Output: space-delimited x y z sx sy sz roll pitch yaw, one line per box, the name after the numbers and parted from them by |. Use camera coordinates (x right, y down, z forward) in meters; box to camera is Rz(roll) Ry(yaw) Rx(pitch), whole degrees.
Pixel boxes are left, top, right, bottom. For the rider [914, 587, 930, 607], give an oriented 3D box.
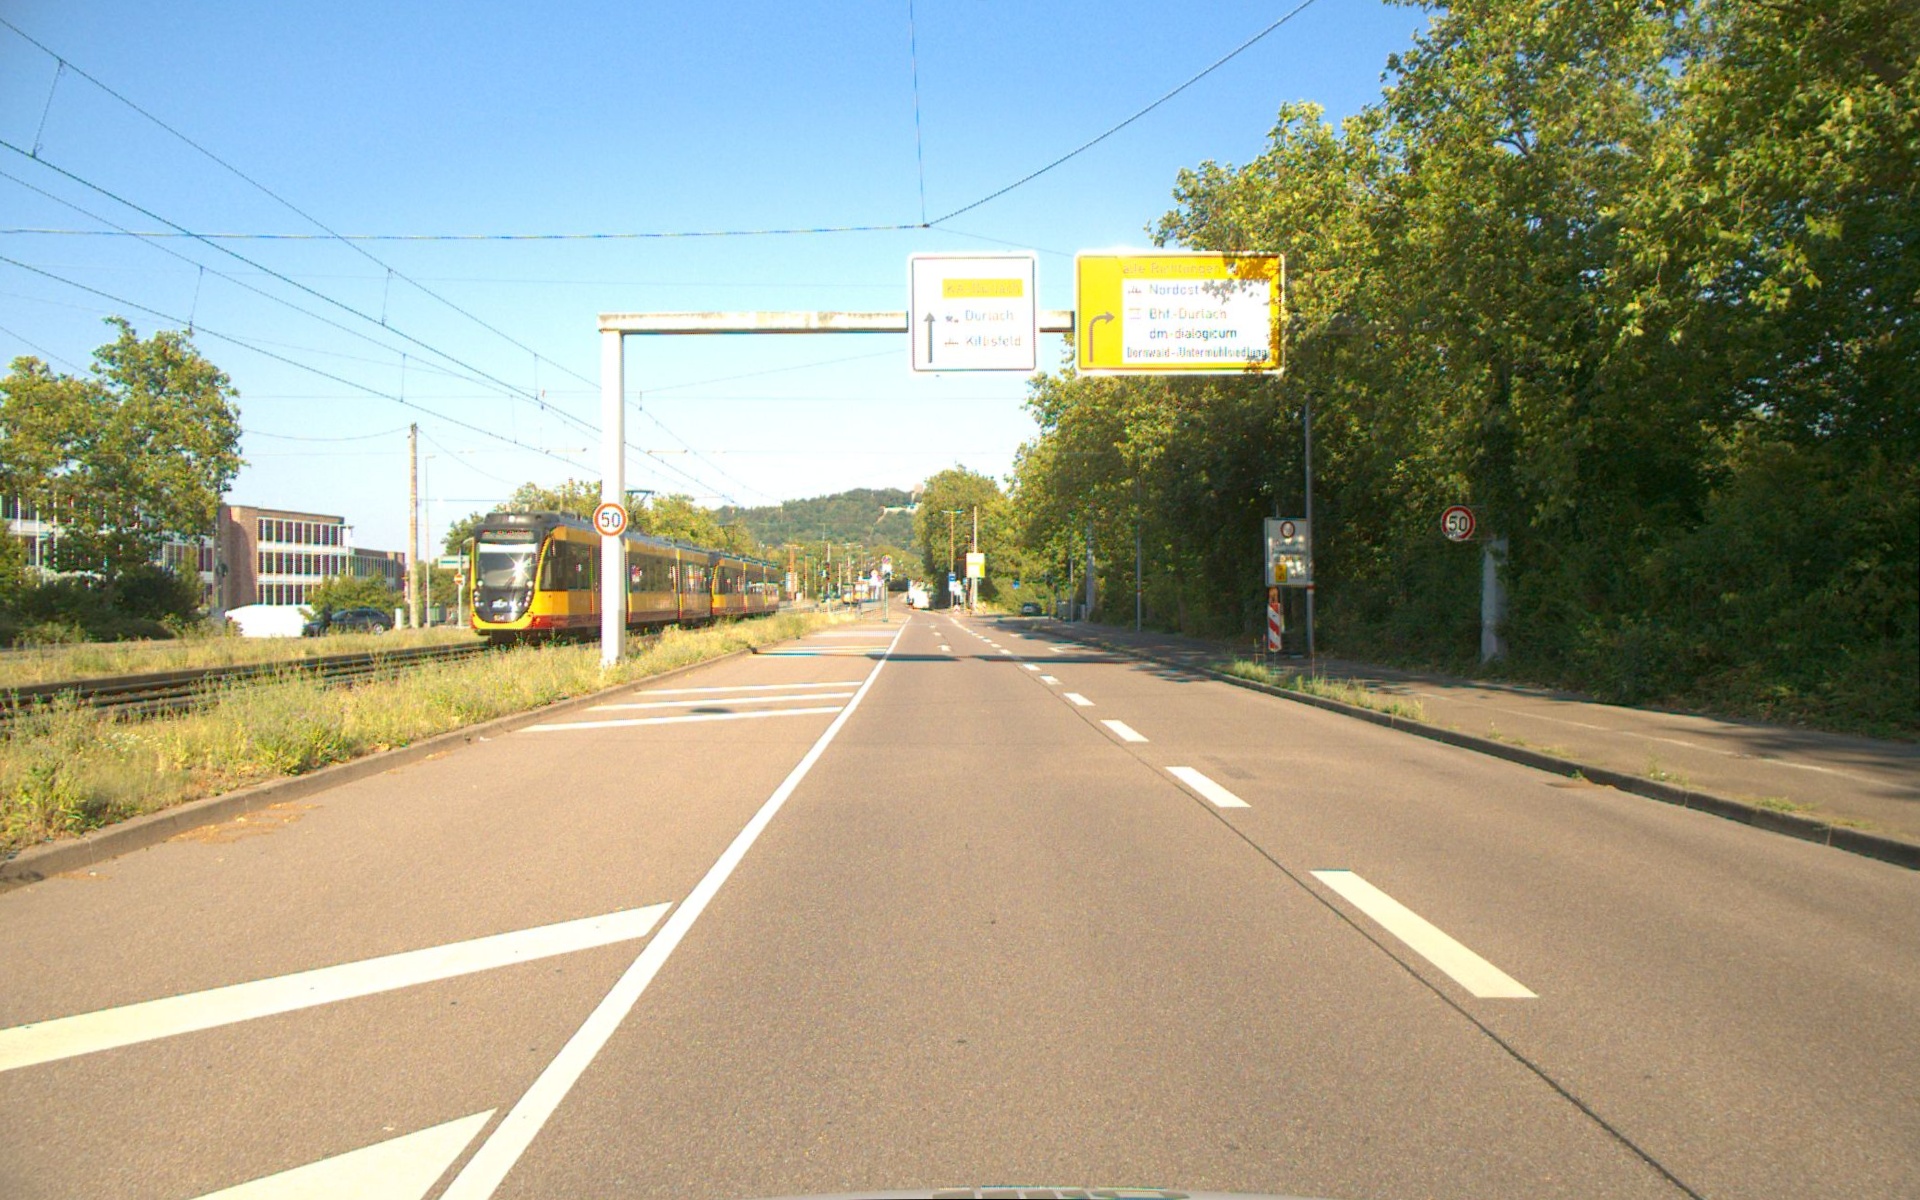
-5.110 -0.404 223.215 2.064 2.693 0.737 0 0 4 | rider

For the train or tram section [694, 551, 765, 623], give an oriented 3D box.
-13.751 -0.736 99.717 2.767 4.020 12.649 1 0 -1 | train or tram section

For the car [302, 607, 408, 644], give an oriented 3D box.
-32.109 1.363 87.850 5.063 1.846 1.930 1 0 -29 | car

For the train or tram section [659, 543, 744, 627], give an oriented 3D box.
-13.440 -0.725 87.043 2.767 4.020 12.703 1 0 -1 | train or tram section

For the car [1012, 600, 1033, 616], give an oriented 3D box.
6.513 0.861 172.618 2.042 1.593 3.957 1 0 5 | car

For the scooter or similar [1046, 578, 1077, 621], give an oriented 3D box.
6.705 -0.019 109.587 1.647 2.763 4.868 1 0 -1 | scooter or similar

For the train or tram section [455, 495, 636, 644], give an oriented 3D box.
-12.357 -0.814 50.648 2.747 3.971 12.327 1 0 -2 | train or tram section

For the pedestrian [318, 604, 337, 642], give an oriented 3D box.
-30.754 1.117 80.457 0.529 1.853 0.651 1 0 21 | pedestrian

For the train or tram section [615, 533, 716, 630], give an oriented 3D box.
-13.107 -0.769 74.711 2.747 3.971 11.808 1 0 -2 | train or tram section

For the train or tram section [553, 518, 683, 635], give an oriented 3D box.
-12.737 -0.786 62.808 2.747 3.971 11.986 1 0 -2 | train or tram section
